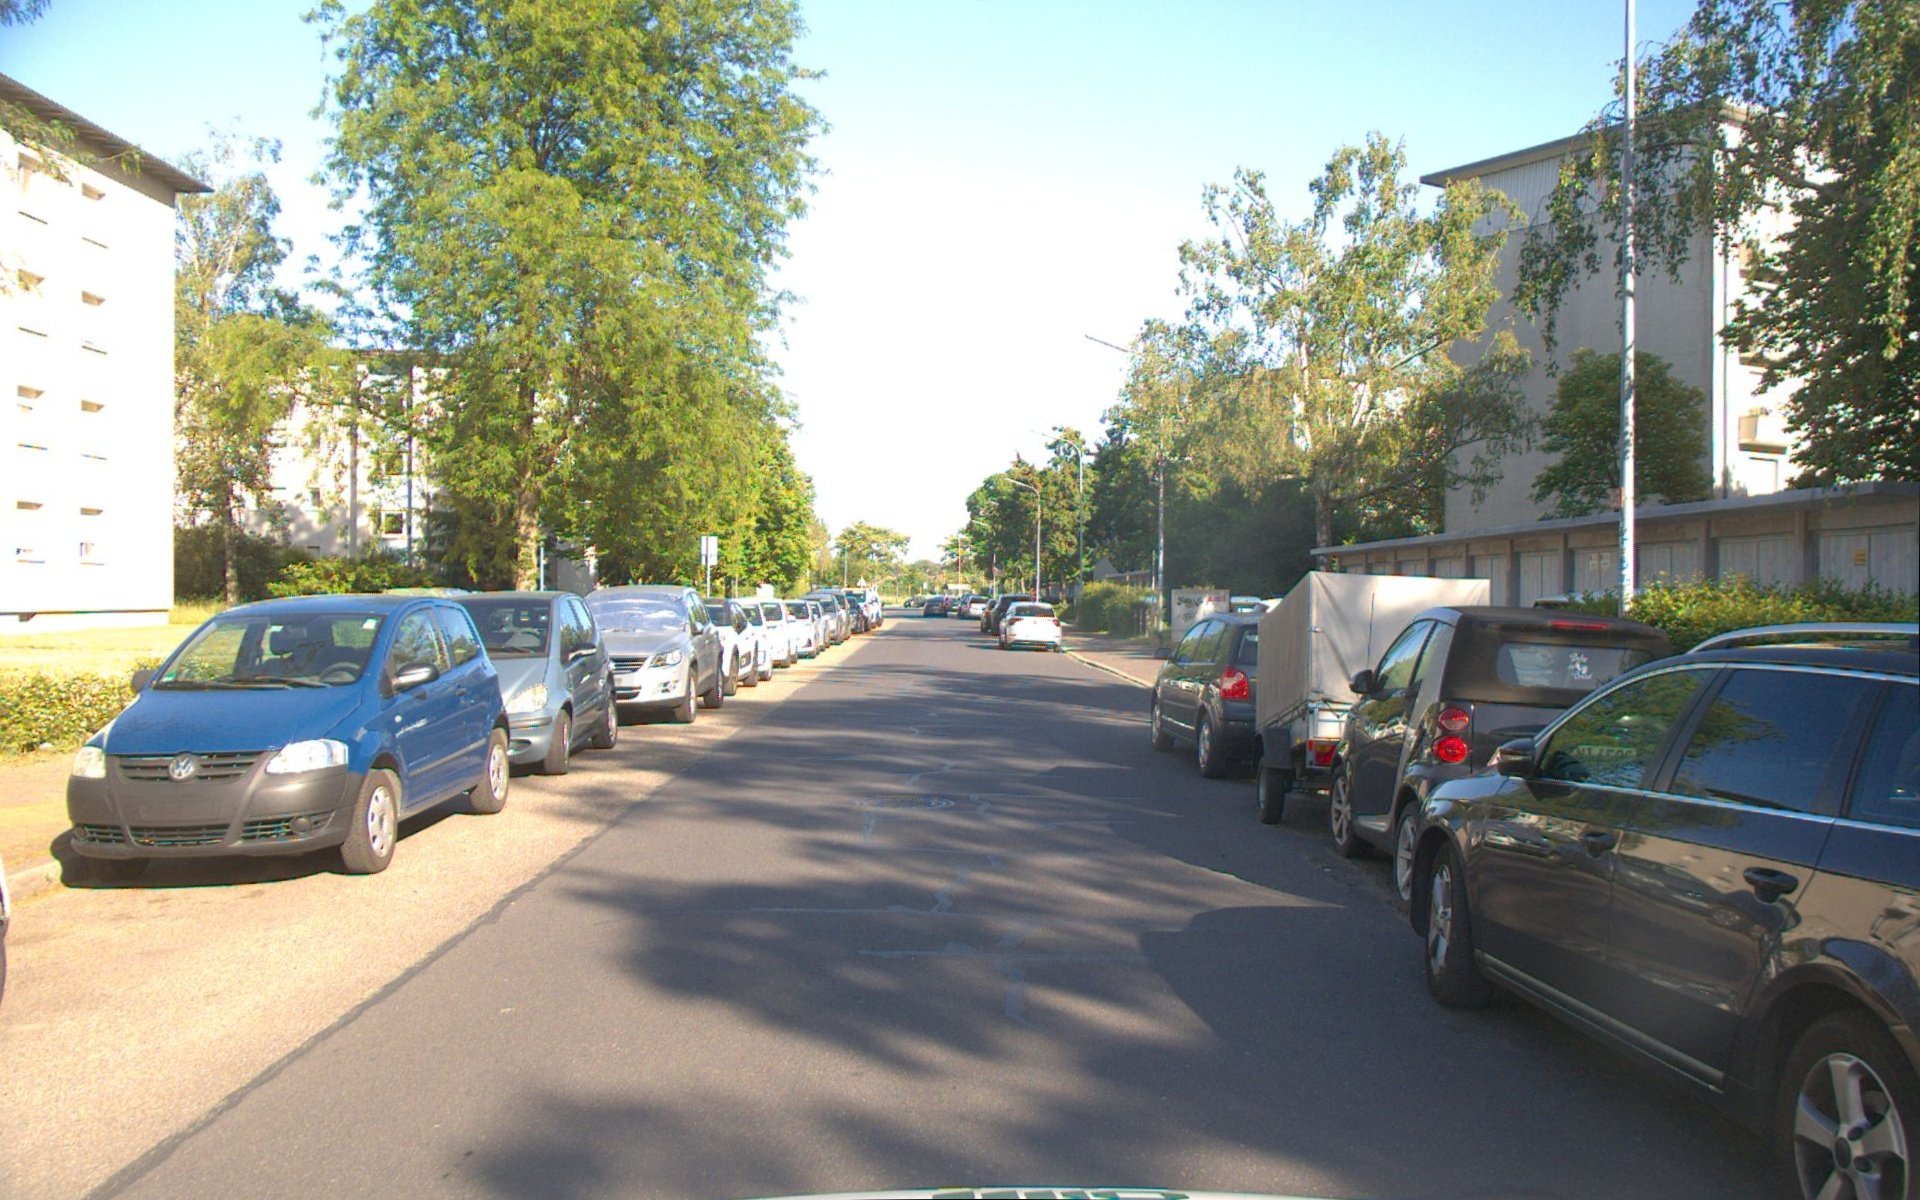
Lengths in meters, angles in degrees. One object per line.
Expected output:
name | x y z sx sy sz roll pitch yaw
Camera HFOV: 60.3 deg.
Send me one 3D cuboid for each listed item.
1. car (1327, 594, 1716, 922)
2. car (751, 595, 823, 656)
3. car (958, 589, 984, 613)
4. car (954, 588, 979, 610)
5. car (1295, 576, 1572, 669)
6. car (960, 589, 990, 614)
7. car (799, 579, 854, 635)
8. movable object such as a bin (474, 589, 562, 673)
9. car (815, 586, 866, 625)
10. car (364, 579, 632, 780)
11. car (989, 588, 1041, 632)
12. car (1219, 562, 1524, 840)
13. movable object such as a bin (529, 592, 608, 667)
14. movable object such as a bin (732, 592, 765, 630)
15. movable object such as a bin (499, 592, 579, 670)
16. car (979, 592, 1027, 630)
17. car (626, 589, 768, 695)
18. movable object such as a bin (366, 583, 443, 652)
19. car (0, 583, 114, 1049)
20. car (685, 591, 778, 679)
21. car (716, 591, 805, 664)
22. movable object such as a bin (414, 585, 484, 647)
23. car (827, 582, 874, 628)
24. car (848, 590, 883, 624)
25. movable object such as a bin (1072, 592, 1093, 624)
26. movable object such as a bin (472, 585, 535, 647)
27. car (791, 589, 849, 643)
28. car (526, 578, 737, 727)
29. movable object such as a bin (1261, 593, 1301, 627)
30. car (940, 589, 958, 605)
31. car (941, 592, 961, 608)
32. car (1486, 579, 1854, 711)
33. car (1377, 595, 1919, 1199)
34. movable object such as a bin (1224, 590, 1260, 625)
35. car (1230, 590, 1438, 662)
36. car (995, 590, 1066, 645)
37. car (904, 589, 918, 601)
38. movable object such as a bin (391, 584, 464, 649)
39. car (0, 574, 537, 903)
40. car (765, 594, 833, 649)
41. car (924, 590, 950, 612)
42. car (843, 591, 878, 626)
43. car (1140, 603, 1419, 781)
car | 3.014 0.764 9.334 1.385 1.550 2.558 2 0 3
car | -4.521 0.632 43.532 1.653 1.532 3.816 0 0 -3
car | 0.813 0.100 128.729 1.760 1.818 3.949 1 0 -3
car | 0.491 -0.066 133.506 1.760 1.672 3.949 1 0 -3
car | 8.375 0.383 29.509 4.421 1.540 1.829 -1 0 0
car | 1.023 0.102 112.730 1.760 1.589 3.949 1 0 -3
car | -4.840 0.234 60.322 1.817 1.925 4.415 -1 0 -3
movable object such as a bin | -7.861 0.544 29.514 1.113 1.407 1.442 3 0 0
car | -4.985 0.220 69.485 1.710 1.560 4.139 -1 0 1
car | -4.160 0.645 15.421 1.603 1.634 3.533 -1 0 -2
car | 2.183 0.390 66.777 1.869 1.668 4.627 1 0 -1
car | 2.852 0.649 11.928 1.459 1.748 2.582 2 0 -2
movable object such as a bin | -7.605 0.561 32.205 1.153 1.363 1.343 3 0 0
movable object such as a bin | -8.412 0.441 65.785 1.079 1.445 1.360 3 0 -1
movable object such as a bin | -7.853 0.562 30.900 1.113 1.381 1.243 3 0 0
car | 1.857 0.462 72.619 1.869 1.557 4.327 1 0 -1
car | -4.133 0.616 26.520 1.628 1.540 3.945 -1 0 0
movable object such as a bin | -12.410 0.383 37.022 1.153 1.445 1.462 3 0 1
car | -4.069 0.773 4.854 1.414 1.601 3.143 -2 0 2
car | -4.287 0.611 31.236 1.631 1.540 3.532 -1 0 -7
car | -4.515 0.590 37.785 1.652 1.562 3.889 -1 0 -2
movable object such as a bin | -12.421 0.378 40.264 1.153 1.445 1.462 3 0 1
car | -4.977 0.197 75.848 1.876 1.997 5.086 -1 0 -1
car | -5.081 0.343 89.493 1.711 1.762 4.004 -1 0 -1
movable object such as a bin | 5.755 0.364 77.790 0.898 1.479 1.232 0 0 -1
movable object such as a bin | -11.249 0.394 40.835 1.111 1.445 1.361 3 0 0
car | -4.566 0.496 54.338 1.675 1.628 3.983 -2 0 -3
car | -4.024 0.588 20.974 1.864 1.668 4.348 -1 0 -1
movable object such as a bin | 13.172 0.417 67.825 1.232 1.376 1.276 1 0 -10
car | -1.181 -0.284 175.489 1.760 1.672 3.949 1 0 -3
car | -0.956 -0.014 168.088 1.760 1.576 3.949 1 0 -3
car | 8.884 0.532 20.899 3.865 1.540 1.827 -1 0 -4
car | 2.810 0.783 4.968 1.697 1.516 4.498 2 0 -4
movable object such as a bin | 11.509 0.300 67.503 1.229 1.376 1.278 1 0 -2
car | 8.473 0.567 37.718 4.325 1.540 1.828 -1 0 -1
car | 2.121 0.503 50.503 1.718 1.540 4.101 2 0 -4
car | -6.523 -0.662 219.698 1.760 1.589 3.949 1 0 -3
movable object such as a bin | -12.457 0.372 38.743 1.153 1.445 1.462 3 0 1
car | -4.072 0.702 10.514 1.718 1.634 3.968 -2 0 0
car | -4.734 0.606 49.077 1.652 1.490 4.524 -2 0 -2
car | -1.736 0.041 123.569 1.646 1.540 4.101 2 0 -3
car | -5.045 0.393 83.955 1.712 1.699 4.374 -1 0 -4
car | 2.920 0.785 15.932 1.697 1.428 3.892 2 0 -4
